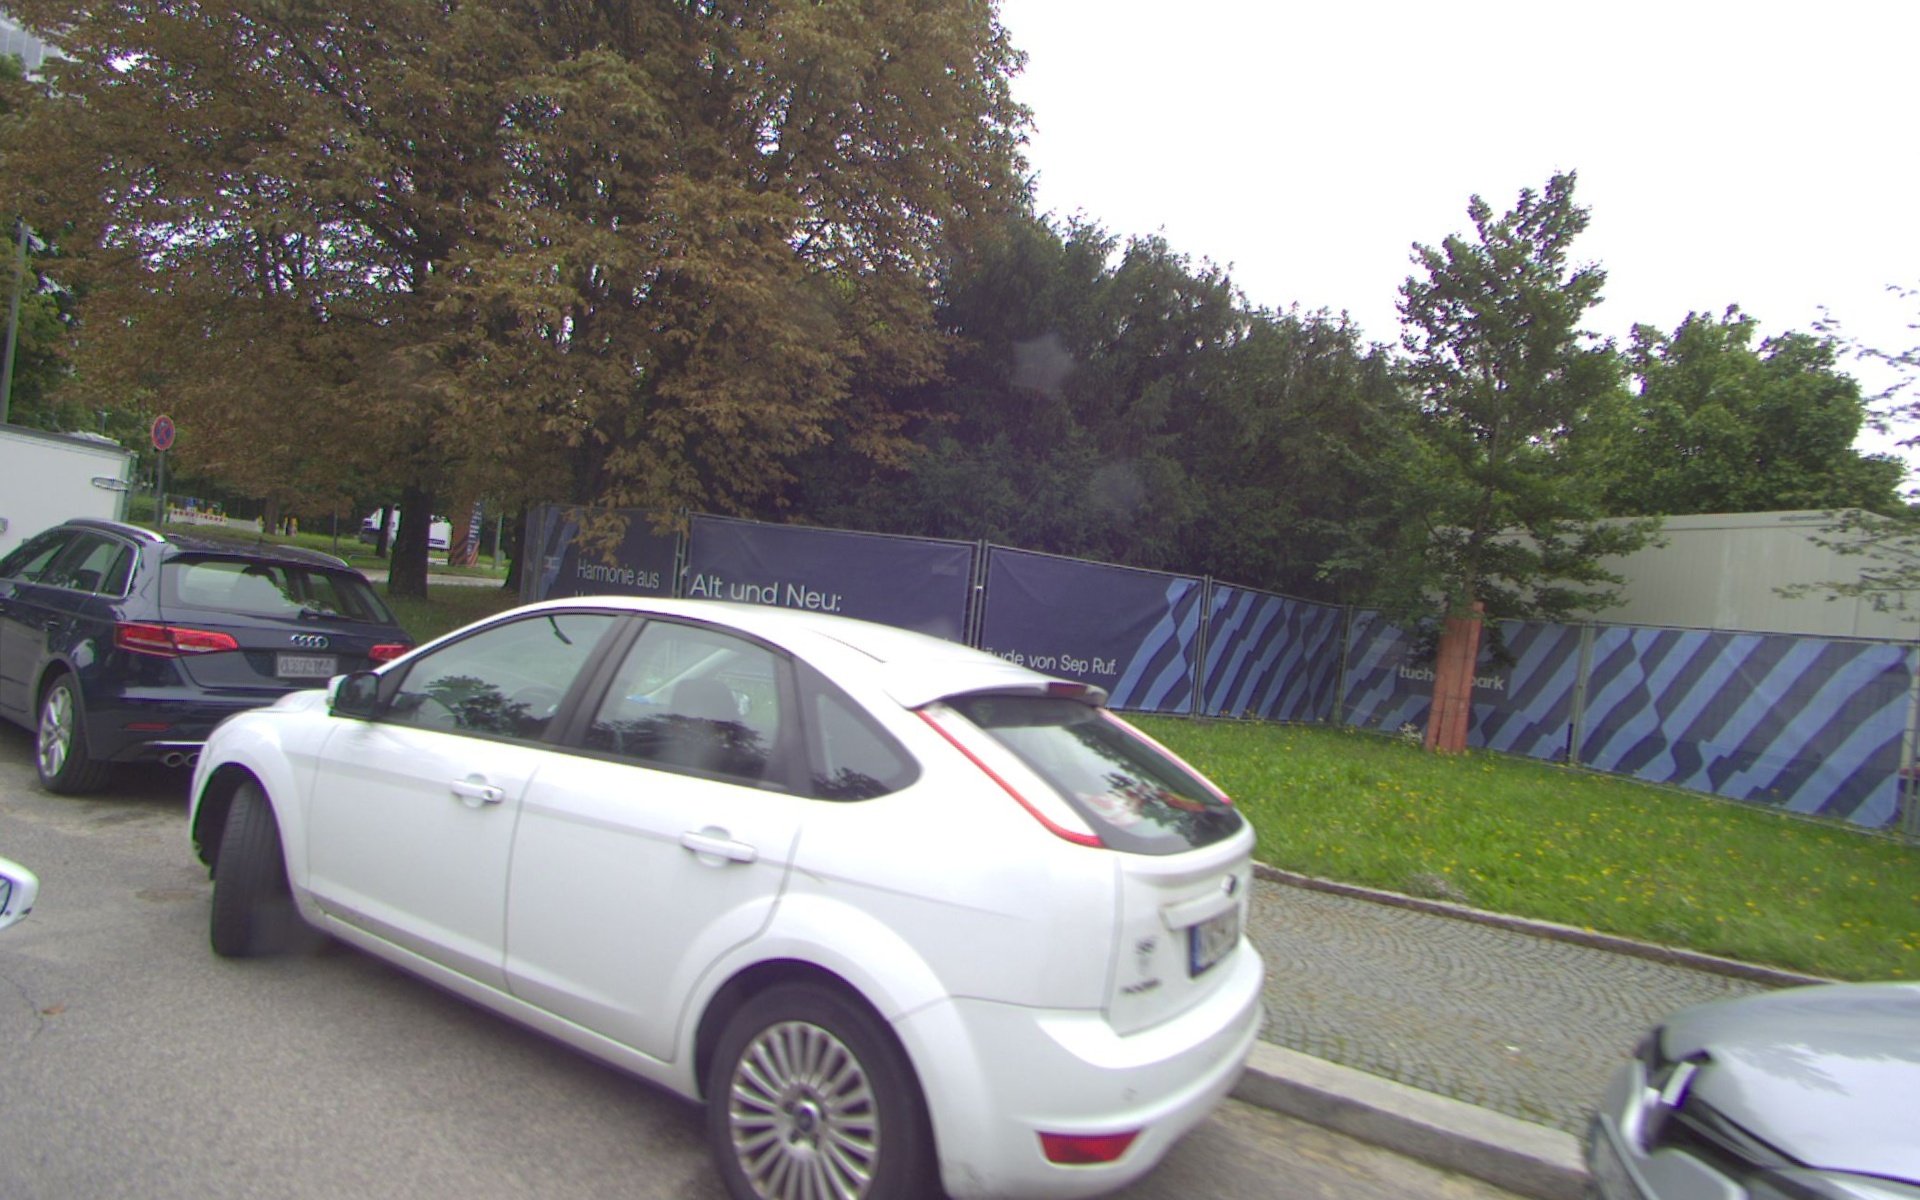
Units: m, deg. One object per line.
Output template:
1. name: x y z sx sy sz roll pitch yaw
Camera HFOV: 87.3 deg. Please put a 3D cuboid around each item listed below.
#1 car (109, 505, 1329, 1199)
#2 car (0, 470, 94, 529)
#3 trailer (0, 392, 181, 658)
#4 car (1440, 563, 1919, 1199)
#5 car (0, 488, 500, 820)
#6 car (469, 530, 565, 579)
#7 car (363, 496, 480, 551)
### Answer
1. car: -1.036 0.662 3.704 4.148 1.504 1.770 7 0 29
2. car: -34.006 -3.718 36.103 1.856 1.624 4.400 7 -2 1
3. trailer: -9.173 -0.779 9.734 4.771 2.038 1.805 6 0 44
4. car: 3.339 1.112 1.621 4.369 1.749 1.999 7 0 23
5. car: -5.221 0.148 6.684 4.258 1.455 1.873 7 1 33
6. car: -21.210 -2.134 48.401 1.962 1.771 4.127 7 0 14
7. car: -46.303 -6.578 86.587 8.553 3.491 3.096 7 0 11
